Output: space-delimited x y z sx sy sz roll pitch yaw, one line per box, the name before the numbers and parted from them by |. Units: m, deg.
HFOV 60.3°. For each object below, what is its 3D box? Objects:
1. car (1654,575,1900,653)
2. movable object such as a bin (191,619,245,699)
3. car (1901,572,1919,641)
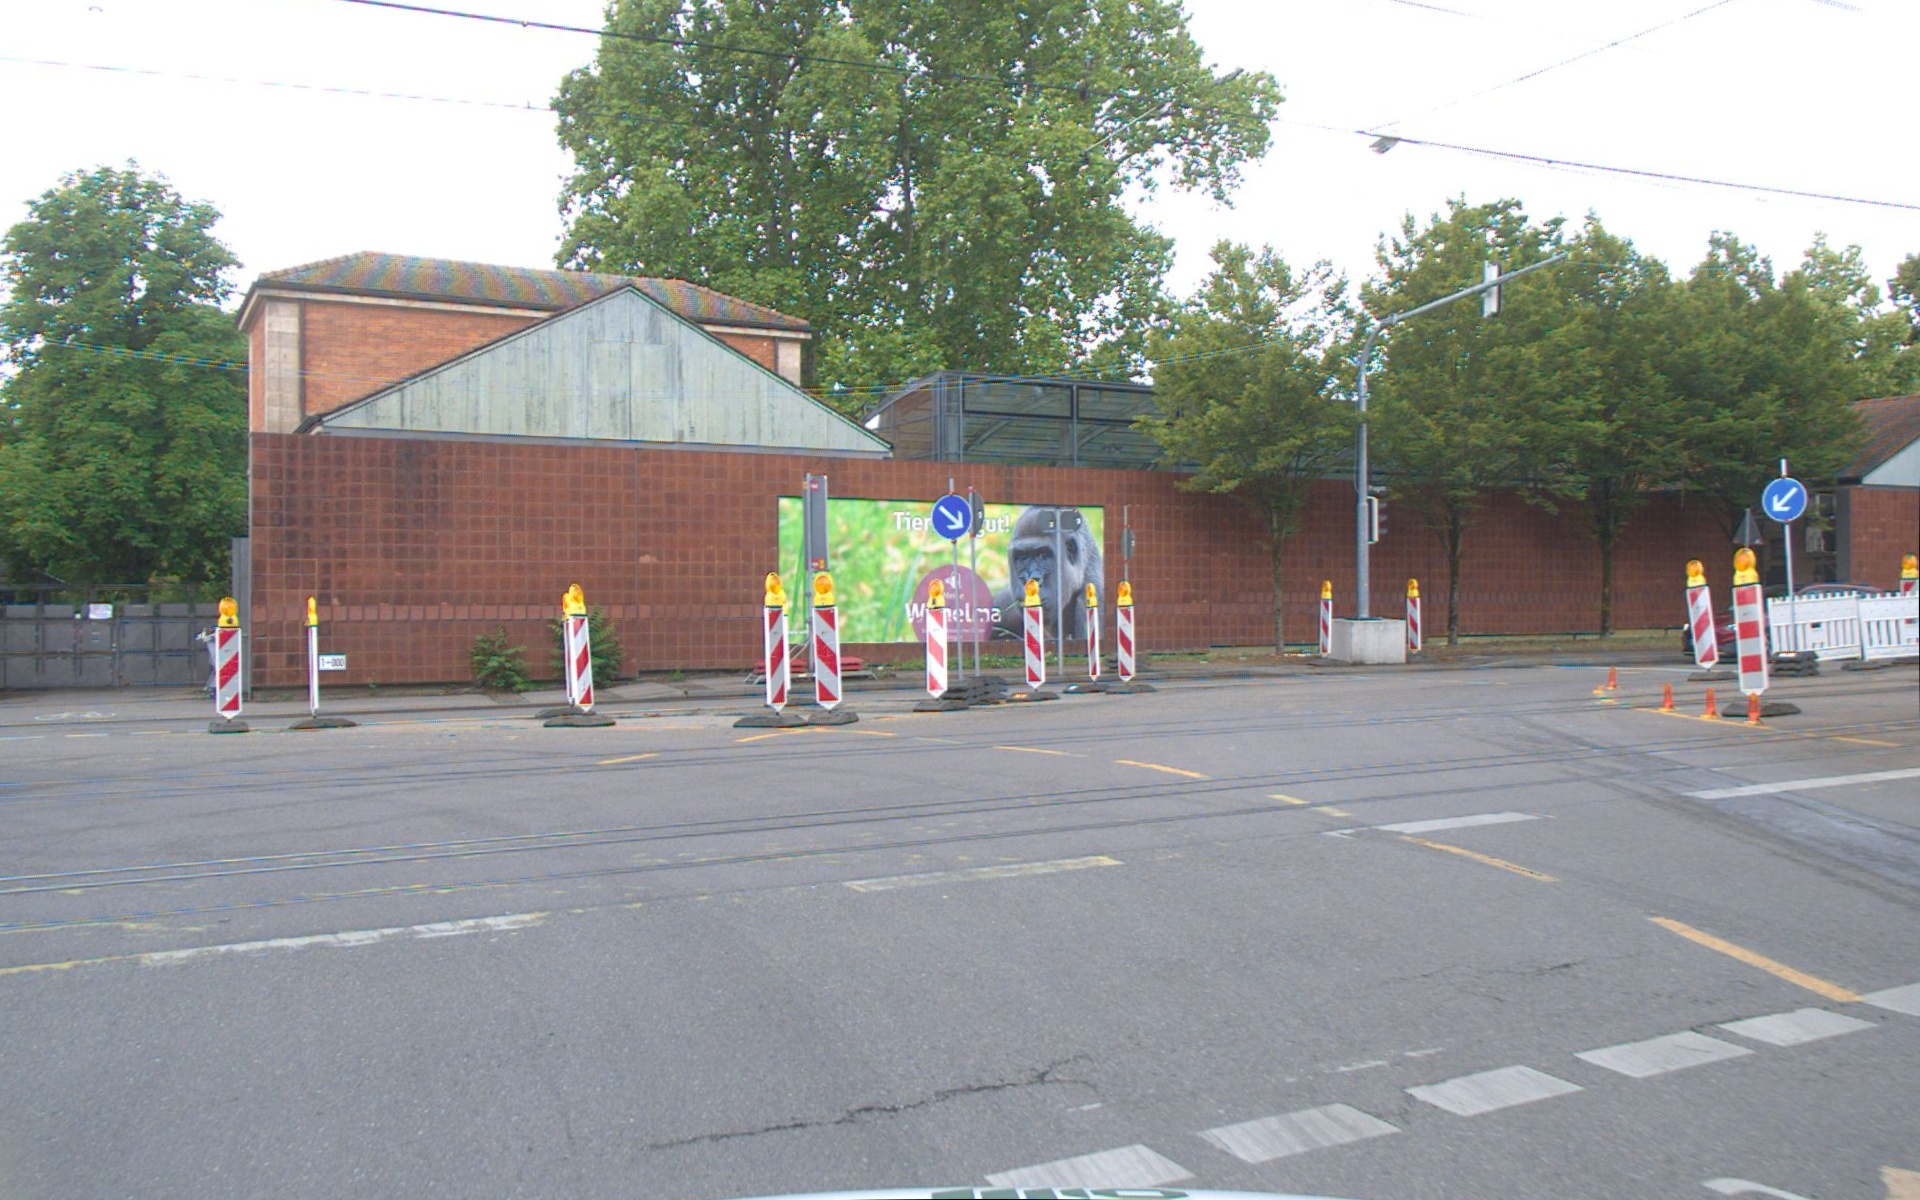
car | 16.159 0.273 32.742 4.378 1.468 1.869 0 -1 -20
movable object such as a bin | -13.175 1.038 29.369 0.837 1.364 0.794 -1 -1 -25
car | 22.450 0.118 35.235 4.378 1.468 1.792 0 -1 -20
